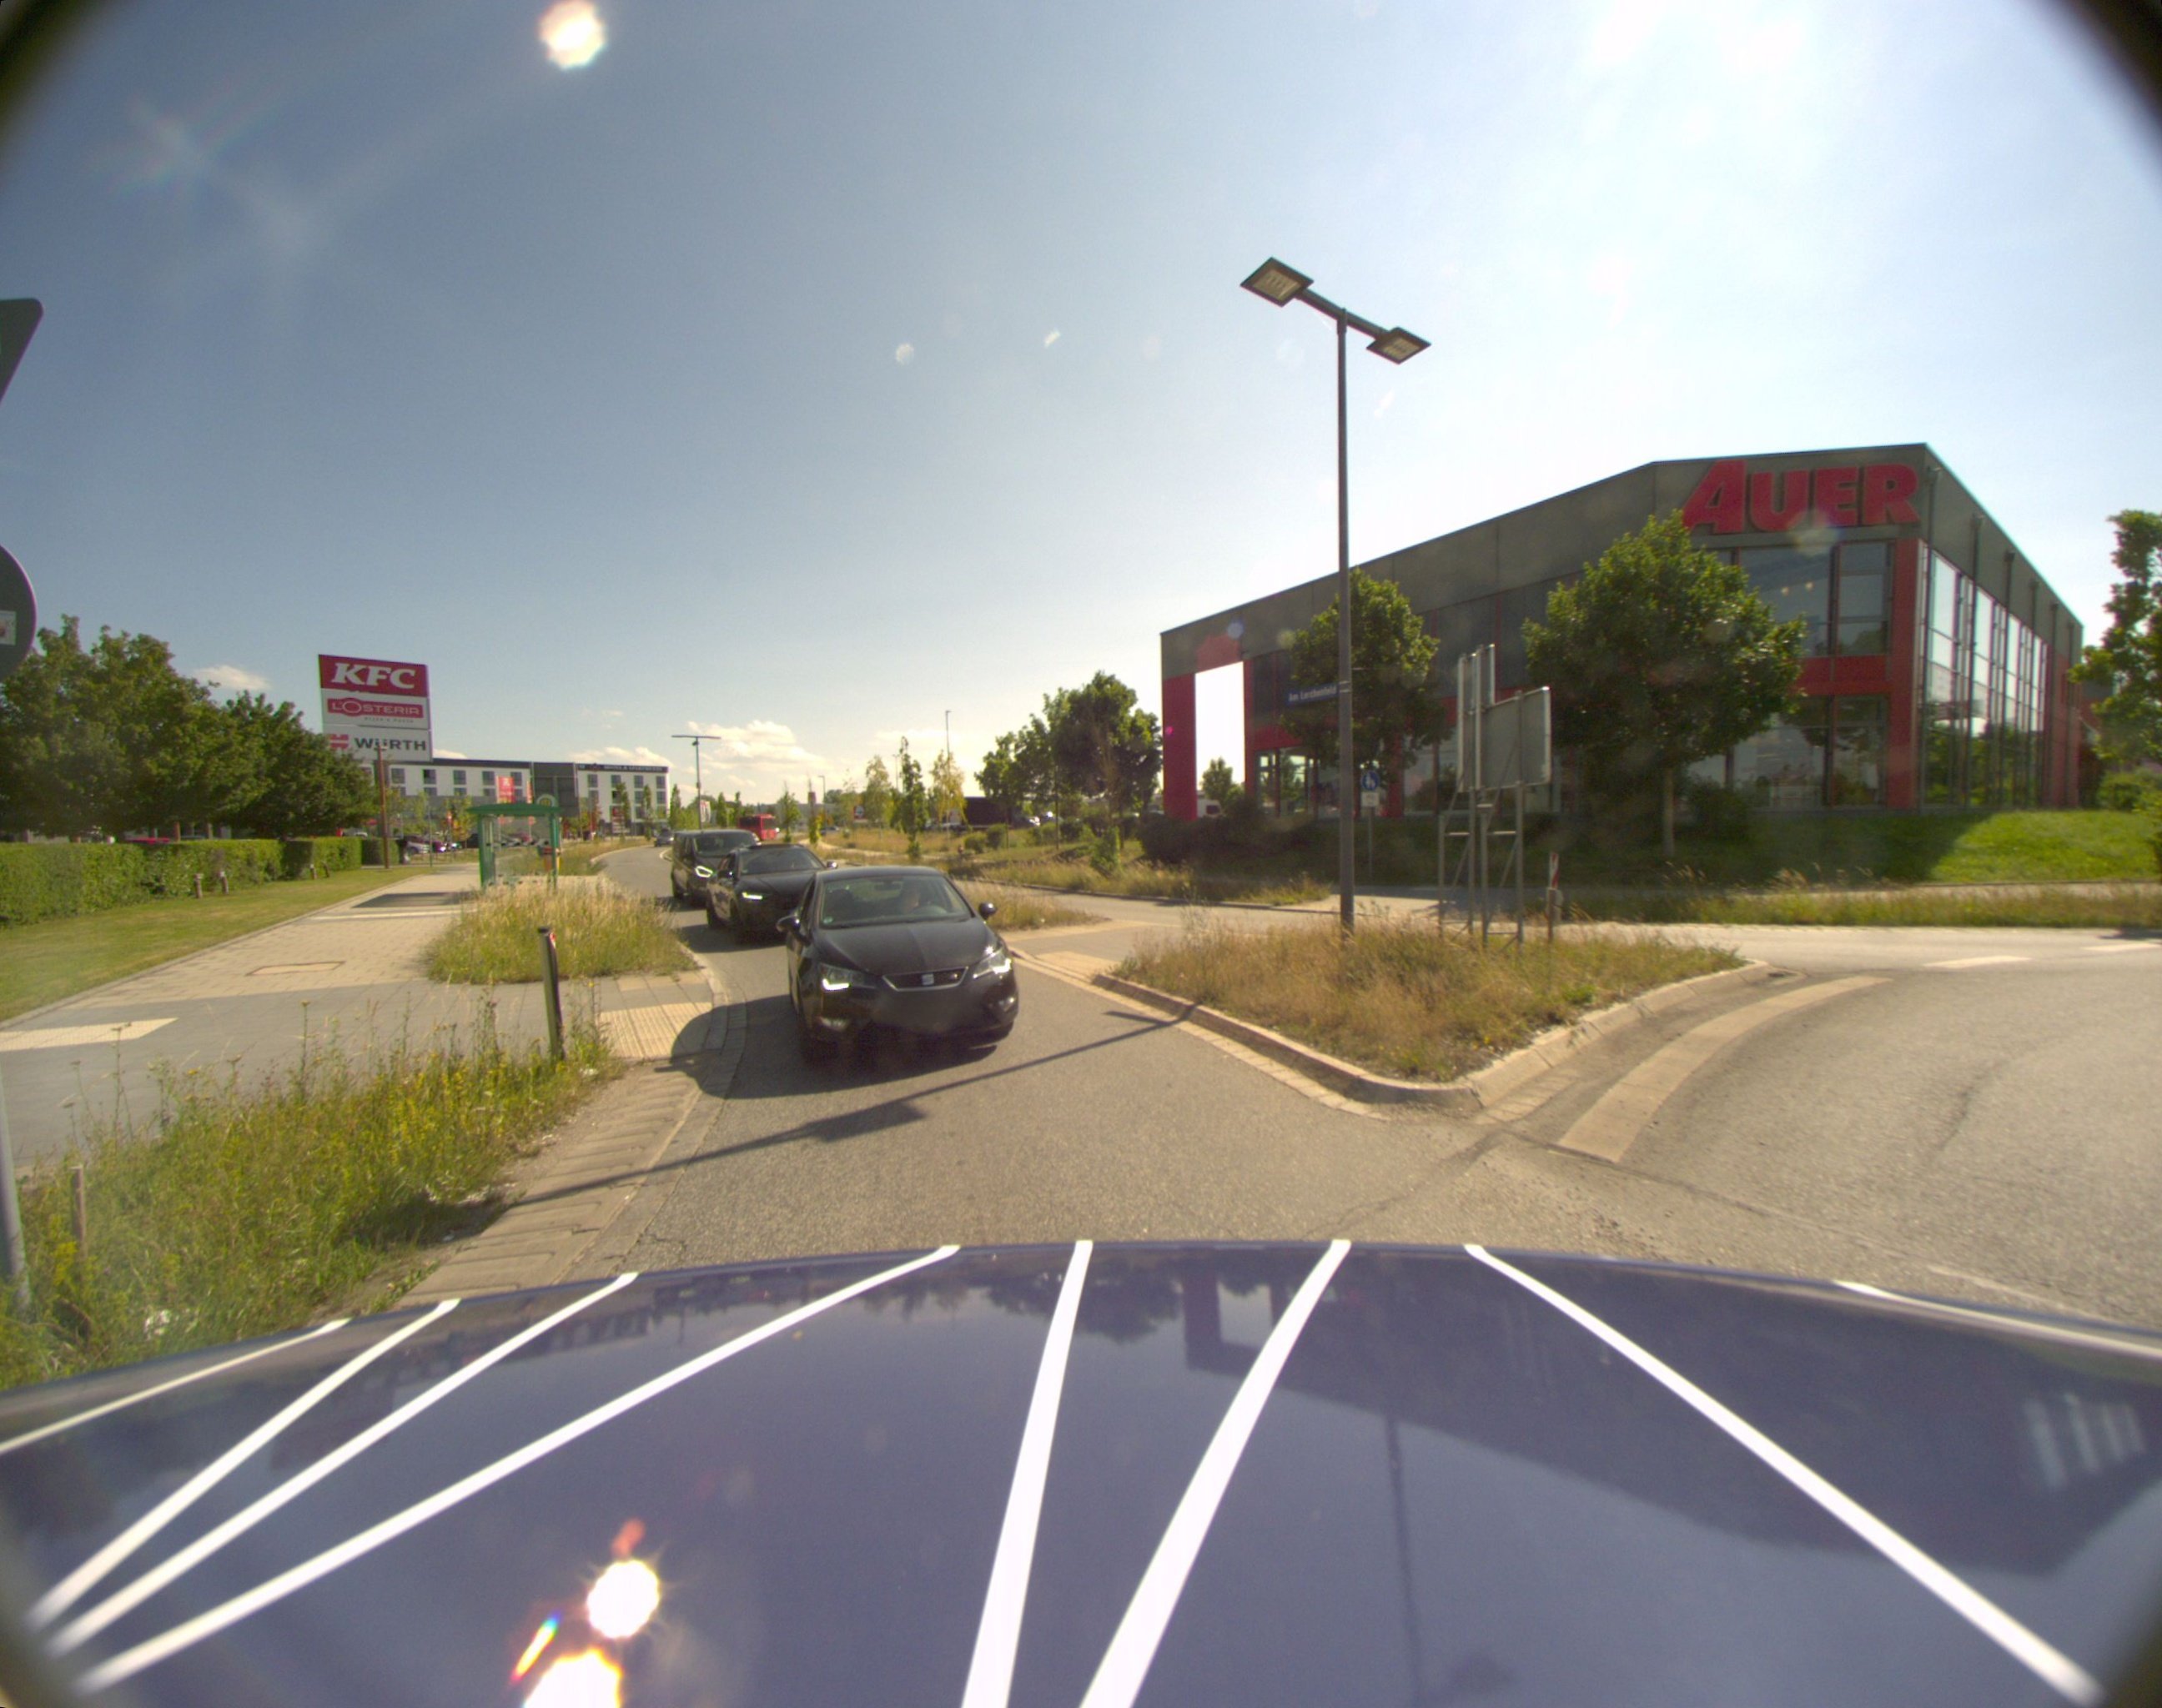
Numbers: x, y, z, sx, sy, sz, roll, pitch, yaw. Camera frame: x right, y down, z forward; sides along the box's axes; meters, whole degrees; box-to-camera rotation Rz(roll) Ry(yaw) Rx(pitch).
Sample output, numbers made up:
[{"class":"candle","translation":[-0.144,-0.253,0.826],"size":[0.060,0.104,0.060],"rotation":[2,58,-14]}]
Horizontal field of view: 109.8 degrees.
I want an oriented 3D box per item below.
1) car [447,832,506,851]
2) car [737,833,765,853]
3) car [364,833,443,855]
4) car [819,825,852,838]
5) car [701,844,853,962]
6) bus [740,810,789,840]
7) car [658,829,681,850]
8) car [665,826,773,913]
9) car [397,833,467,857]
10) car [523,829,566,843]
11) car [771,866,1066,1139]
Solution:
[{"class":"car","translation":[-60.423,-1.267,76.008],"size":[4.189,1.847,1.800],"rotation":[-2,3,-16]},{"class":"car","translation":[-24.785,-0.886,57.102],"size":[1.799,1.408,4.372],"rotation":[-2,2,-23]},{"class":"car","translation":[-55.788,-0.853,62.681],"size":[4.449,1.644,1.928],"rotation":[-2,3,-27]},{"class":"car","translation":[-33.349,-3.041,103.268],"size":[3.945,1.667,1.618],"rotation":[-1,2,-5]},{"class":"car","translation":[-5.844,0.754,14.317],"size":[1.865,1.680,3.989],"rotation":[-6,5,-32]},{"class":"bus","translation":[-37.338,-3.394,90.133],"size":[2.618,3.224,11.866],"rotation":[-2,2,-10]},{"class":"car","translation":[-40.061,-1.438,74.017],"size":[1.732,1.893,3.990],"rotation":[-2,3,-26]},{"class":"car","translation":[-10.266,0.295,21.347],"size":[2.083,2.038,4.669],"rotation":[-6,5,-32]},{"class":"car","translation":[-57.228,-0.839,67.127],"size":[4.190,2.003,1.929],"rotation":[-2,3,-19]},{"class":"car","translation":[-63.891,-2.189,90.574],"size":[3.828,1.611,1.753],"rotation":[-2,3,-21]},{"class":"car","translation":[-1.757,0.962,6.893],"size":[1.865,1.460,3.991],"rotation":[-2,2,-23]}]
